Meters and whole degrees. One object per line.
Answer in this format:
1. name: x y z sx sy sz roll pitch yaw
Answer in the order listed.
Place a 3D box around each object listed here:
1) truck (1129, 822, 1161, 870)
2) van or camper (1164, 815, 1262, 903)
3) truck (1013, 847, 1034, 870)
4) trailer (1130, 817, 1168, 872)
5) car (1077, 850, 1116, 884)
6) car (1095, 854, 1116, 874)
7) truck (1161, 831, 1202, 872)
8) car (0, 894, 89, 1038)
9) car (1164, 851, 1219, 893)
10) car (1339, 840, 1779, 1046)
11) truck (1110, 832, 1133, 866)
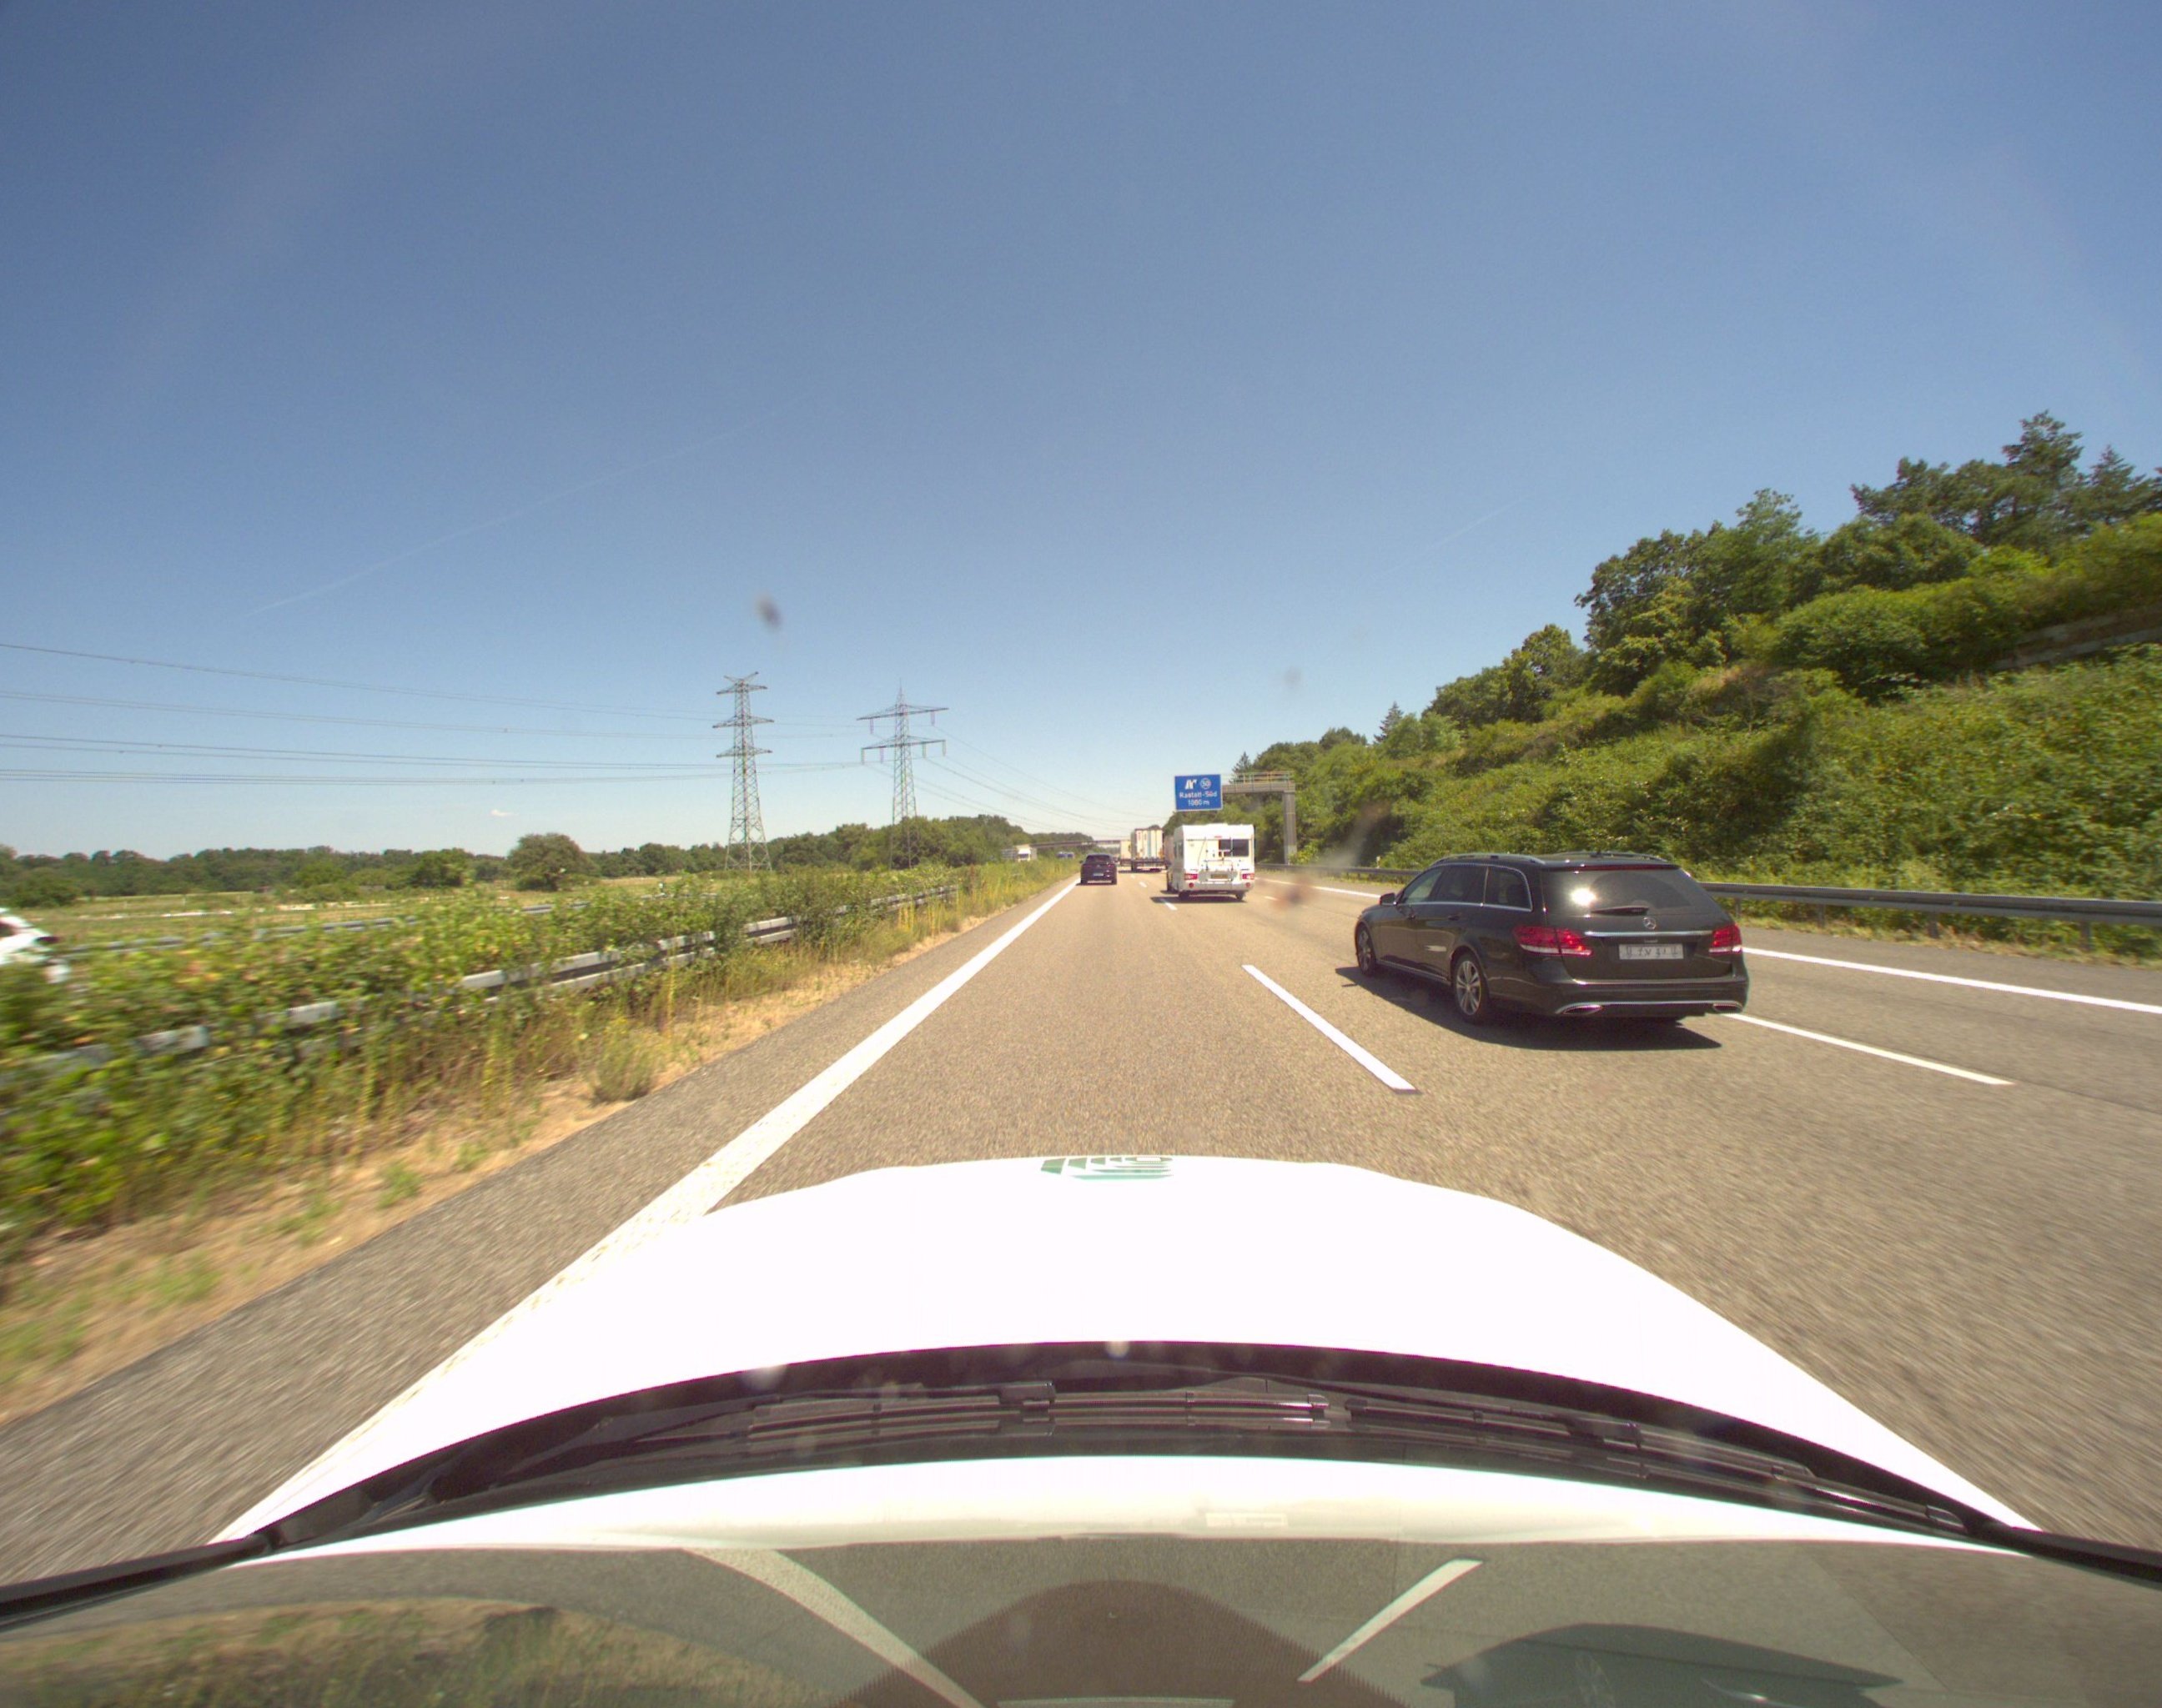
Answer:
1. truck: 6.681 -0.761 85.320 3.075 4.885 6.600 0 -1 2
2. van or camper: 4.428 0.156 28.555 2.430 2.675 6.350 -2 0 1
3. truck: -12.023 0.908 170.212 3.354 4.408 6.562 -4 0 3
4. trailer: 6.444 -0.816 79.088 3.075 4.885 12.263 0 -1 2
5. car: 0.849 0.686 45.109 1.986 1.772 4.001 -2 0 1
6. car: 2.364 0.905 78.565 1.955 1.814 4.449 -2 0 1
7. truck: 11.024 -0.199 90.471 3.557 4.245 11.657 0 -1 2
8. car: -13.702 1.362 8.449 1.834 1.651 4.014 -1 0 1
9. car: 4.546 0.693 34.098 1.871 1.612 4.706 -1 0 3
10. car: 4.275 0.648 8.379 1.834 1.505 4.739 -1 0 1
11. truck: 6.502 -0.727 131.046 3.498 5.166 10.263 -1 0 2
